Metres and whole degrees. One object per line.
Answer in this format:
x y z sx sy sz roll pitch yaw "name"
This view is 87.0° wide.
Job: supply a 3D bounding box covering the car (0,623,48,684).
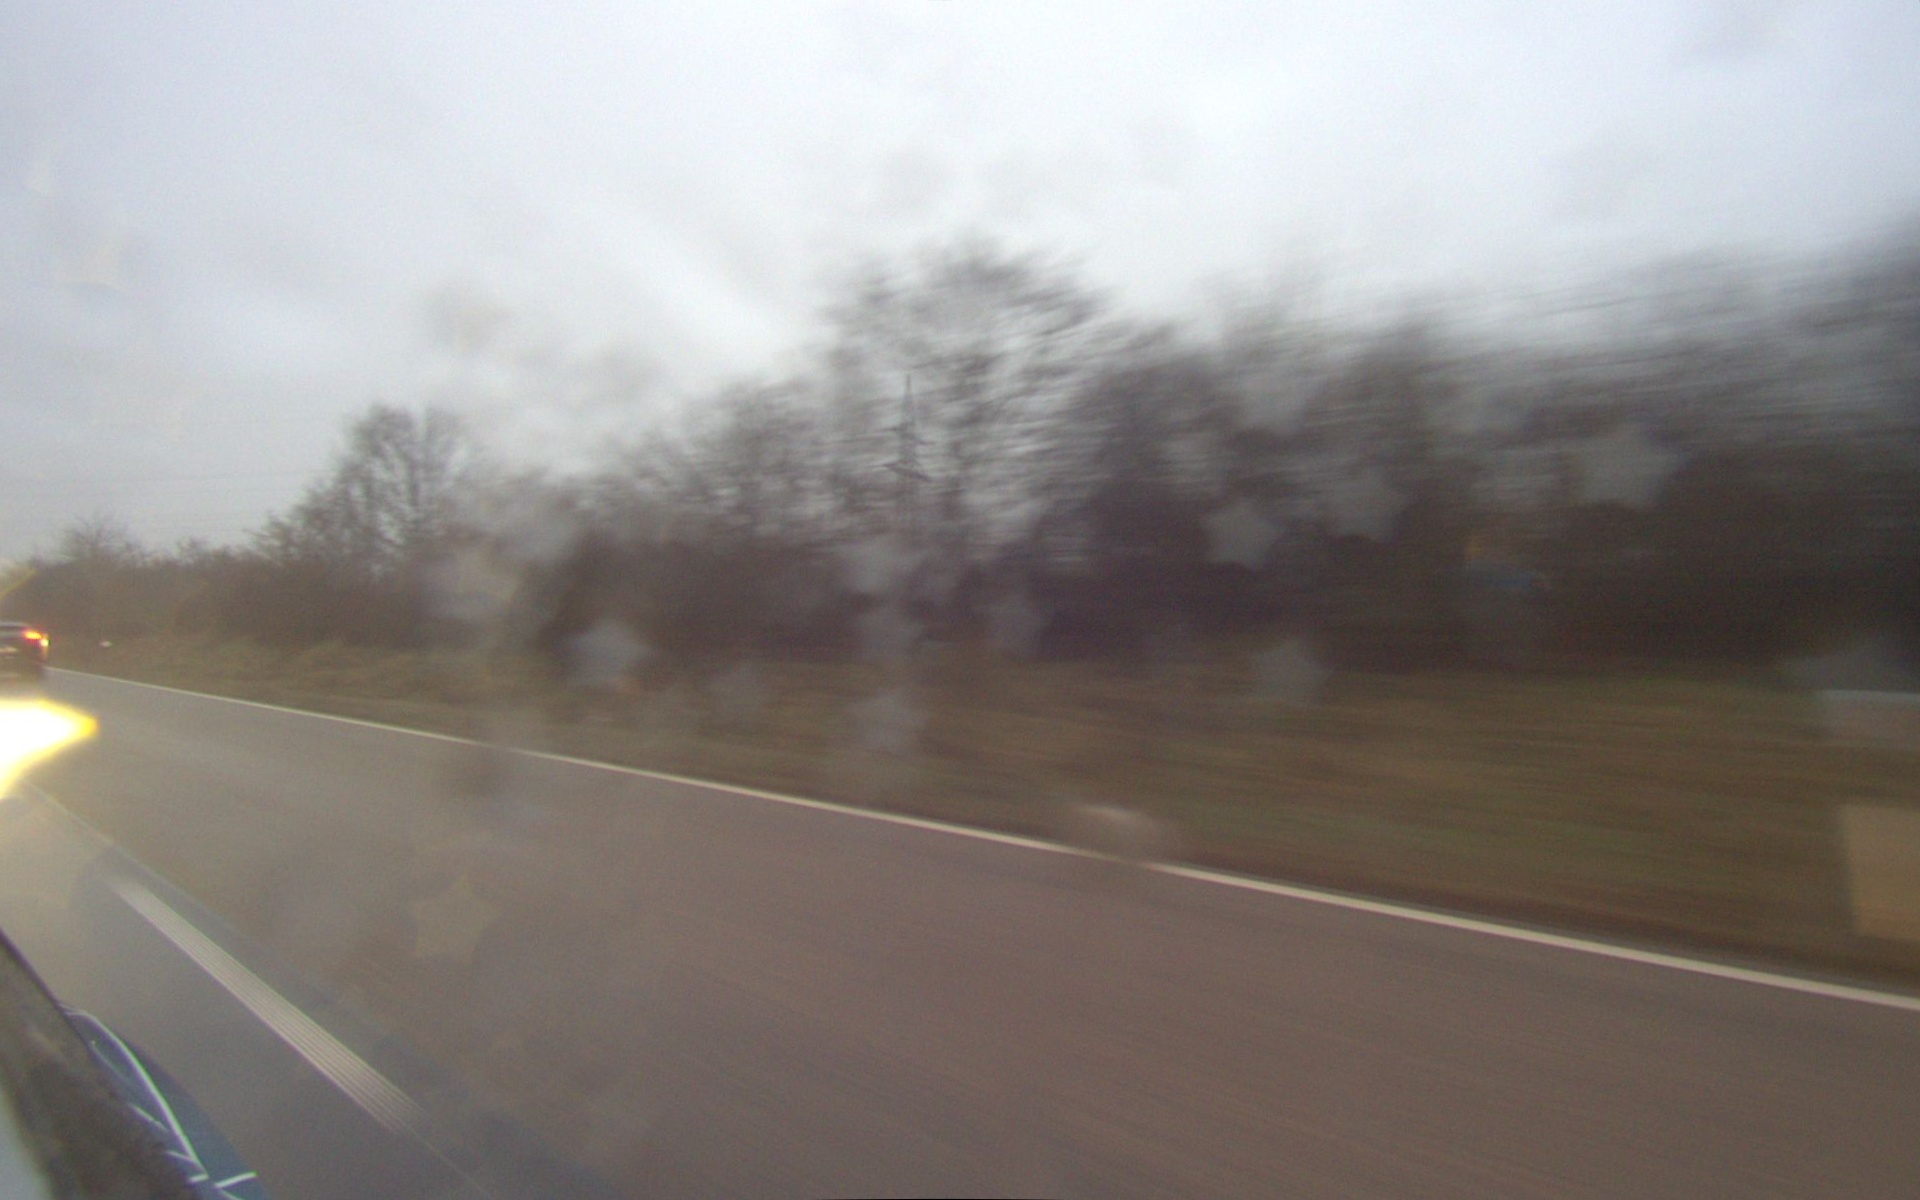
-24.964 1.351 26.089 3.889 1.485 1.733 -1 -1 41 "car"
